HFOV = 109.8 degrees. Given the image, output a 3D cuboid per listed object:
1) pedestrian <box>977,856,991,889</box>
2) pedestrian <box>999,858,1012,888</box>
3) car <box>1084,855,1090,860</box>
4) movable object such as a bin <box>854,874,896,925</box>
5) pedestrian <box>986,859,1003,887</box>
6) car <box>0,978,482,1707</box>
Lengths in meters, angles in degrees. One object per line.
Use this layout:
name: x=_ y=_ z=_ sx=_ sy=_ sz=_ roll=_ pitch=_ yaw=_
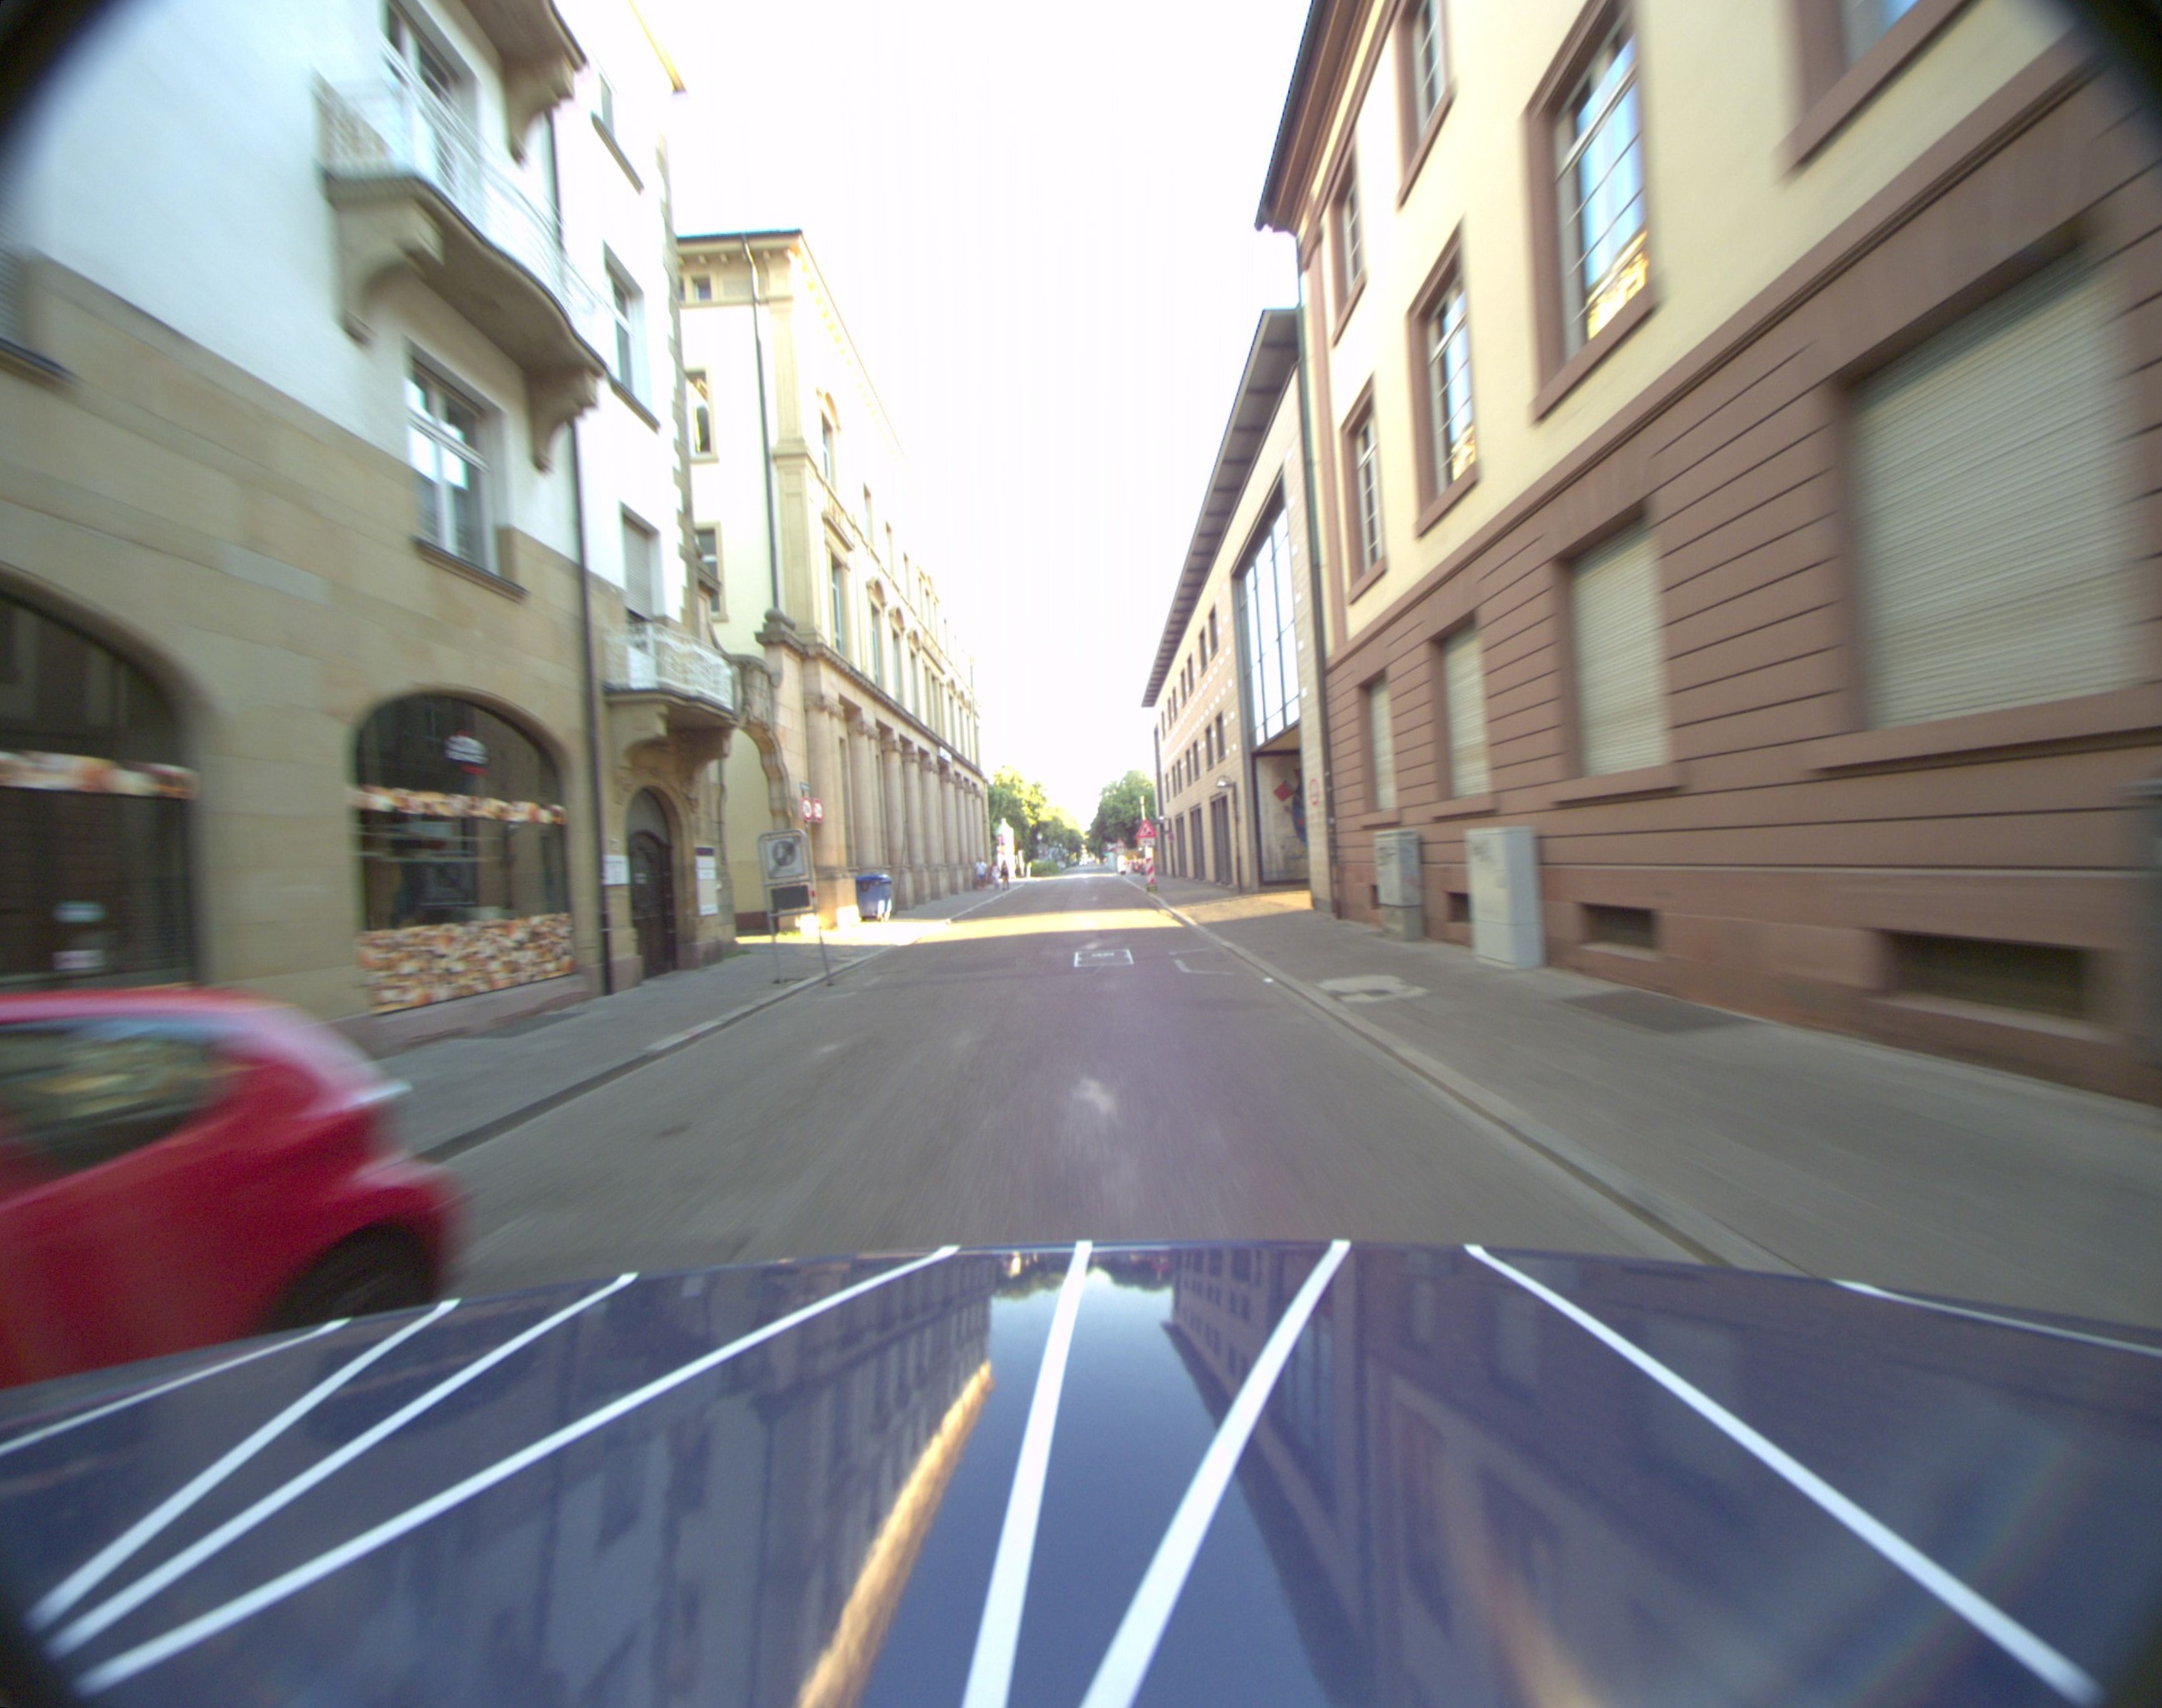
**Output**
pedestrian: x=-5.333 y=1.024 z=41.709 sx=0.649 sy=1.768 sz=0.758 roll=0 pitch=1 yaw=-2
pedestrian: x=-4.133 y=1.044 z=41.705 sx=0.649 sy=1.643 sz=0.758 roll=0 pitch=1 yaw=-2
car: x=1.797 y=0.992 z=235.623 sx=1.858 sy=1.519 sz=4.000 roll=-3 pitch=0 yaw=1
movable object such as a bin: x=-5.896 y=1.294 z=21.797 sx=0.899 sy=1.367 sz=1.137 roll=-1 pitch=0 yaw=-1
pedestrian: x=-4.876 y=1.064 z=42.990 sx=0.856 sy=1.589 sz=0.924 roll=0 pitch=0 yaw=-2
car: x=-3.021 y=1.241 z=0.850 sx=1.618 sy=1.417 sz=3.597 roll=-7 pitch=0 yaw=2
